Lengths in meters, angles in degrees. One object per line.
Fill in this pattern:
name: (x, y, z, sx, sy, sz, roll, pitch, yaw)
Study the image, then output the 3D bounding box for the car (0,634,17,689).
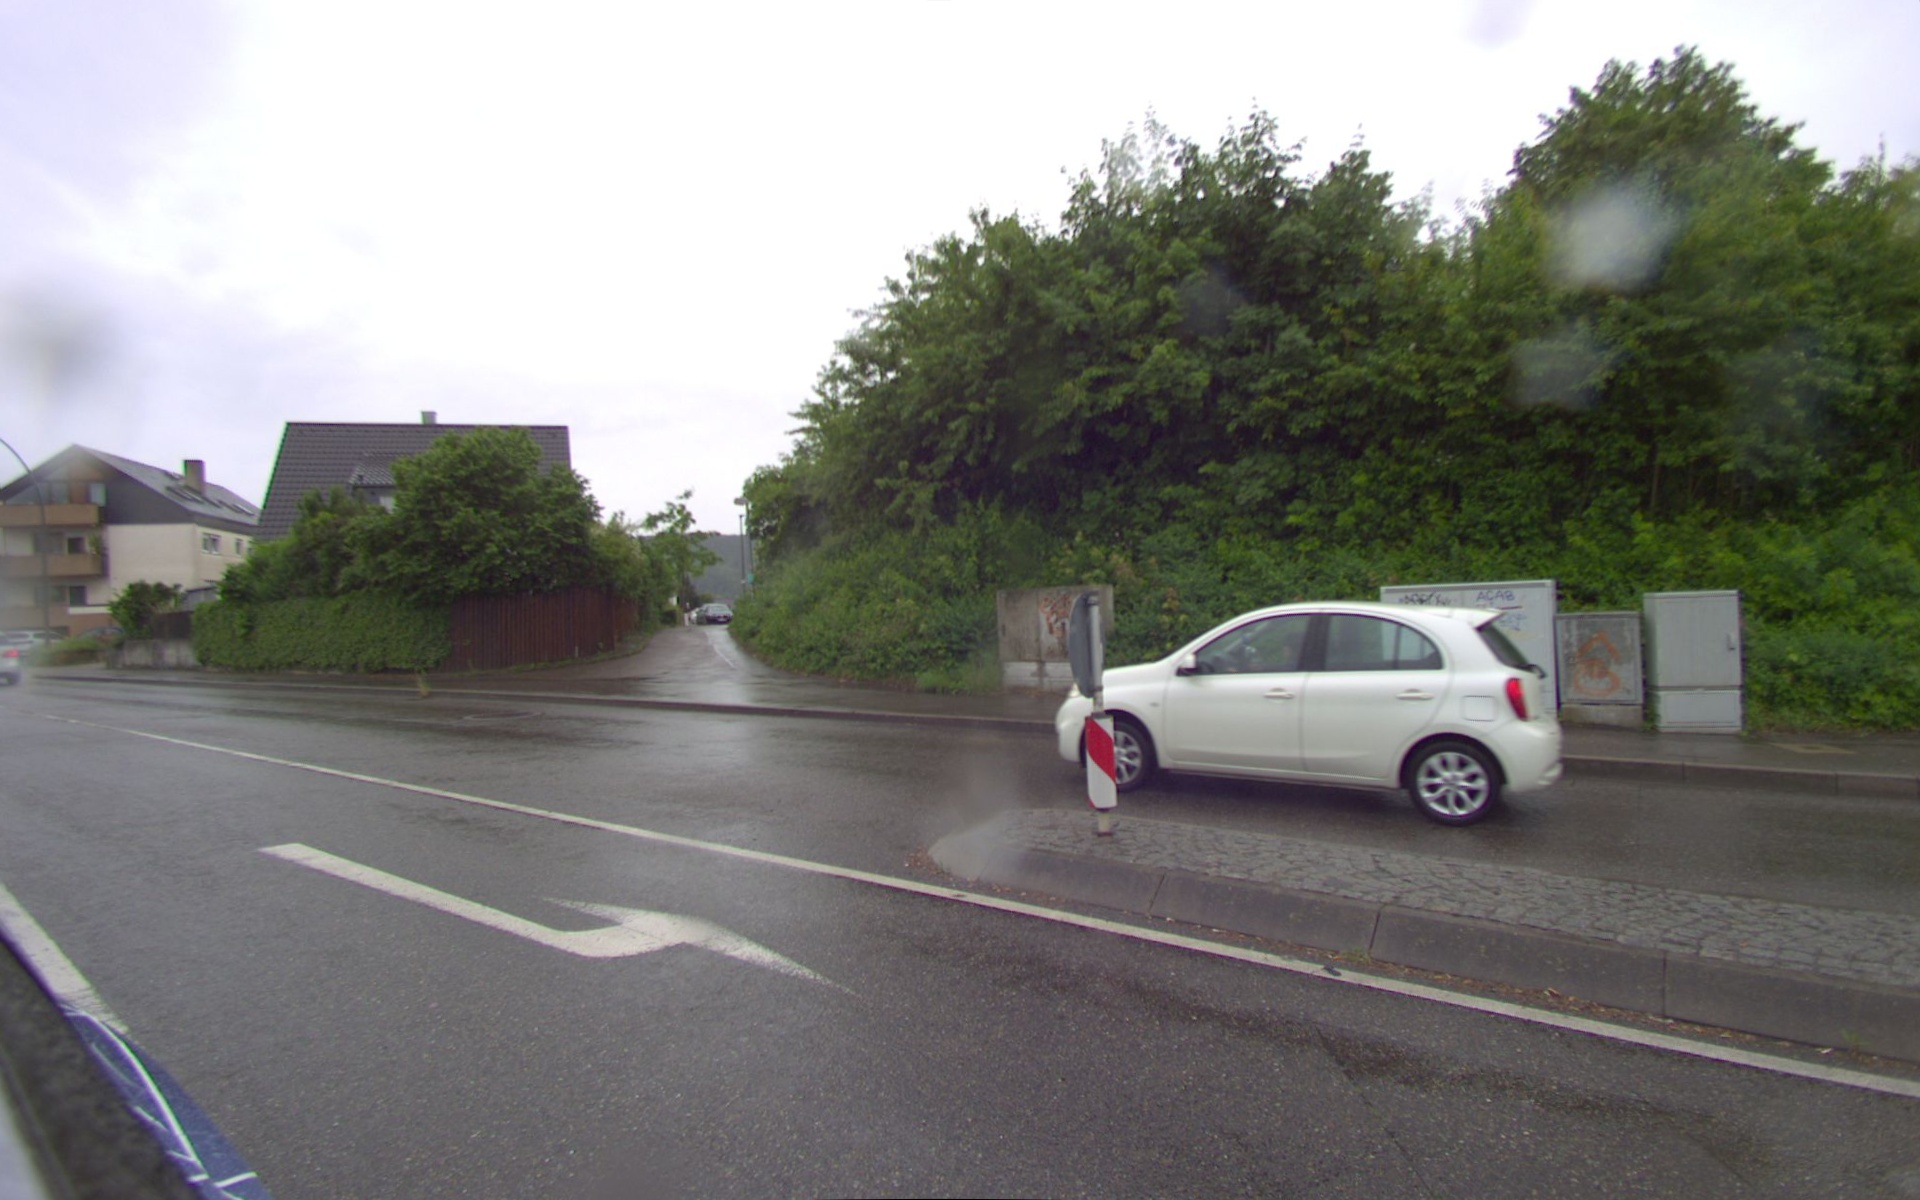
car: (-28.983, 1.780, 29.224, 4.310, 1.516, 1.651, -2, 0, 34)

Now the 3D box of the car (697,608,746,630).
car: (-17.362, 1.349, 73.508, 1.967, 1.497, 4.009, -1, 0, -37)

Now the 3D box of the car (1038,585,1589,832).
car: (2.673, 0.723, 7.947, 3.810, 1.516, 1.608, -1, -2, 33)

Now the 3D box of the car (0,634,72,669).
car: (-46.719, 2.540, 50.772, 1.638, 1.558, 4.011, -1, 0, -15)

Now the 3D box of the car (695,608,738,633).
car: (-15.895, 1.343, 65.919, 1.867, 1.494, 4.013, -1, -1, -26)
